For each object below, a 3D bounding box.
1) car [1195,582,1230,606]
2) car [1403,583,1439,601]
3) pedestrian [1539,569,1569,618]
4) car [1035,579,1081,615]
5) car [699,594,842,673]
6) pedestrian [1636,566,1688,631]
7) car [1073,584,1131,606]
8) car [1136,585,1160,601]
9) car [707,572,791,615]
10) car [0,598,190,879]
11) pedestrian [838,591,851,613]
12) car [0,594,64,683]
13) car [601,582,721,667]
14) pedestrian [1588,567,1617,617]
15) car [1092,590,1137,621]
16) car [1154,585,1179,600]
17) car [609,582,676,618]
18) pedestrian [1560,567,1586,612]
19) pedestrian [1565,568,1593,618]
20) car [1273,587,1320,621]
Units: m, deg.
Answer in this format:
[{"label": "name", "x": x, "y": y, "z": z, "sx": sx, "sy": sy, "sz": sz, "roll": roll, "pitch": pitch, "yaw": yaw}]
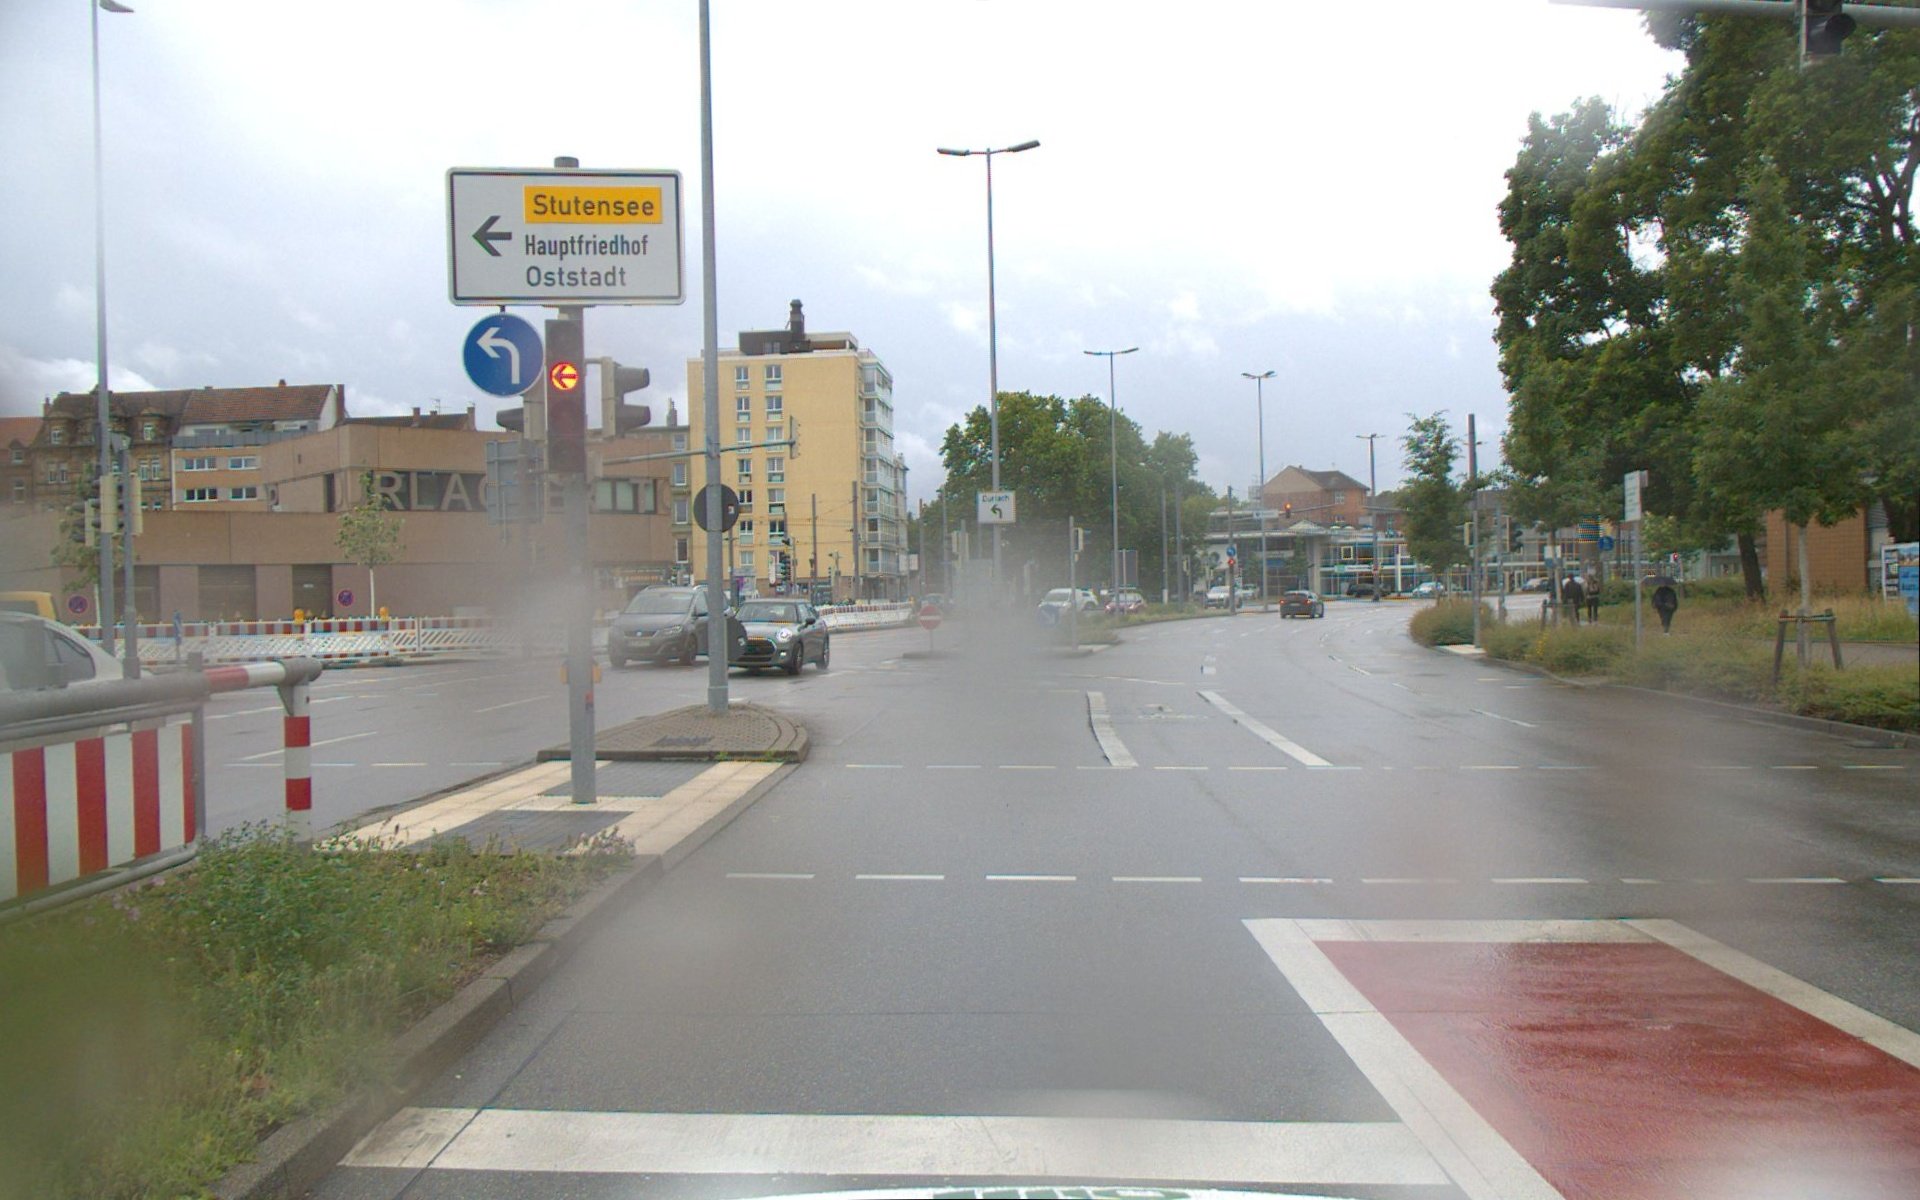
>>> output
[{"label": "car", "x": 18.927, "y": -0.475, "z": 124.085, "sx": 1.753, "sy": 1.672, "sz": 4.160, "roll": -1, "pitch": 0, "yaw": 21}, {"label": "car", "x": 45.572, "y": -0.813, "z": 163.493, "sx": 1.765, "sy": 1.672, "sz": 4.133, "roll": -1, "pitch": 0, "yaw": 43}, {"label": "pedestrian", "x": 19.775, "y": -0.216, "z": 55.086, "sx": 0.737, "sy": 1.615, "sz": 0.937, "roll": -1, "pitch": 0, "yaw": 9}, {"label": "car", "x": 5.531, "y": -0.186, "z": 92.901, "sx": 1.752, "sy": 1.890, "sz": 4.163, "roll": -1, "pitch": 0, "yaw": 15}, {"label": "car", "x": -3.686, "y": 0.618, "z": 32.848, "sx": 1.734, "sy": 1.400, "sz": 4.124, "roll": -1, "pitch": 0, "yaw": 9}, {"label": "pedestrian", "x": 18.027, "y": -0.040, "z": 42.501, "sx": 1.000, "sy": 1.615, "sz": 0.937, "roll": -1, "pitch": 0, "yaw": 9}, {"label": "car", "x": 11.482, "y": -0.412, "z": 133.597, "sx": 4.331, "sy": 1.672, "sz": 1.780, "roll": -2, "pitch": 0, "yaw": -27}, {"label": "car", "x": 21.741, "y": -0.804, "z": 191.160, "sx": 1.753, "sy": 1.672, "sz": 4.159, "roll": -1, "pitch": 0, "yaw": 23}, {"label": "car", "x": -17.995, "y": -0.551, "z": 141.202, "sx": 6.601, "sy": 3.439, "sz": 2.810, "roll": -2, "pitch": 0, "yaw": 2}, {"label": "car", "x": -5.792, "y": 0.739, "z": 8.674, "sx": 1.660, "sy": 1.440, "sz": 4.181, "roll": -2, "pitch": 0, "yaw": -3}, {"label": "pedestrian", "x": -10.118, "y": 0.194, "z": 144.541, "sx": 1.071, "sy": 1.845, "sz": 1.117, "roll": -2, "pitch": 0, "yaw": -5}, {"label": "car", "x": -20.067, "y": 0.797, "z": 32.658, "sx": 4.098, "sy": 1.735, "sz": 1.693, "roll": -2, "pitch": 0, "yaw": -32}, {"label": "car", "x": -6.558, "y": 0.495, "z": 36.728, "sx": 1.735, "sy": 1.708, "sz": 4.769, "roll": -1, "pitch": 0, "yaw": 0}, {"label": "pedestrian", "x": 21.191, "y": -0.255, "z": 54.554, "sx": 0.688, "sy": 1.615, "sz": 0.937, "roll": -1, "pitch": 0, "yaw": 9}, {"label": "car", "x": 8.648, "y": 0.287, "z": 92.148, "sx": 1.752, "sy": 1.672, "sz": 4.049, "roll": -1, "pitch": 0, "yaw": 16}, {"label": "car", "x": 23.799, "y": -0.853, "z": 190.358, "sx": 1.753, "sy": 1.672, "sz": 4.159, "roll": -1, "pitch": 0, "yaw": 23}, {"label": "car", "x": -27.177, "y": 0.004, "z": 141.695, "sx": 5.239, "sy": 2.937, "sz": 2.340, "roll": -2, "pitch": 0, "yaw": 2}, {"label": "pedestrian", "x": 22.450, "y": -0.371, "z": 60.544, "sx": 0.688, "sy": 1.615, "sz": 0.937, "roll": -1, "pitch": 0, "yaw": 9}, {"label": "pedestrian", "x": 20.445, "y": -0.234, "z": 54.650, "sx": 0.688, "sy": 1.615, "sz": 0.937, "roll": -1, "pitch": 0, "yaw": 9}, {"label": "car", "x": 17.738, "y": 0.187, "z": 87.099, "sx": 1.753, "sy": 1.672, "sz": 4.160, "roll": -1, "pitch": 0, "yaw": 21}]
